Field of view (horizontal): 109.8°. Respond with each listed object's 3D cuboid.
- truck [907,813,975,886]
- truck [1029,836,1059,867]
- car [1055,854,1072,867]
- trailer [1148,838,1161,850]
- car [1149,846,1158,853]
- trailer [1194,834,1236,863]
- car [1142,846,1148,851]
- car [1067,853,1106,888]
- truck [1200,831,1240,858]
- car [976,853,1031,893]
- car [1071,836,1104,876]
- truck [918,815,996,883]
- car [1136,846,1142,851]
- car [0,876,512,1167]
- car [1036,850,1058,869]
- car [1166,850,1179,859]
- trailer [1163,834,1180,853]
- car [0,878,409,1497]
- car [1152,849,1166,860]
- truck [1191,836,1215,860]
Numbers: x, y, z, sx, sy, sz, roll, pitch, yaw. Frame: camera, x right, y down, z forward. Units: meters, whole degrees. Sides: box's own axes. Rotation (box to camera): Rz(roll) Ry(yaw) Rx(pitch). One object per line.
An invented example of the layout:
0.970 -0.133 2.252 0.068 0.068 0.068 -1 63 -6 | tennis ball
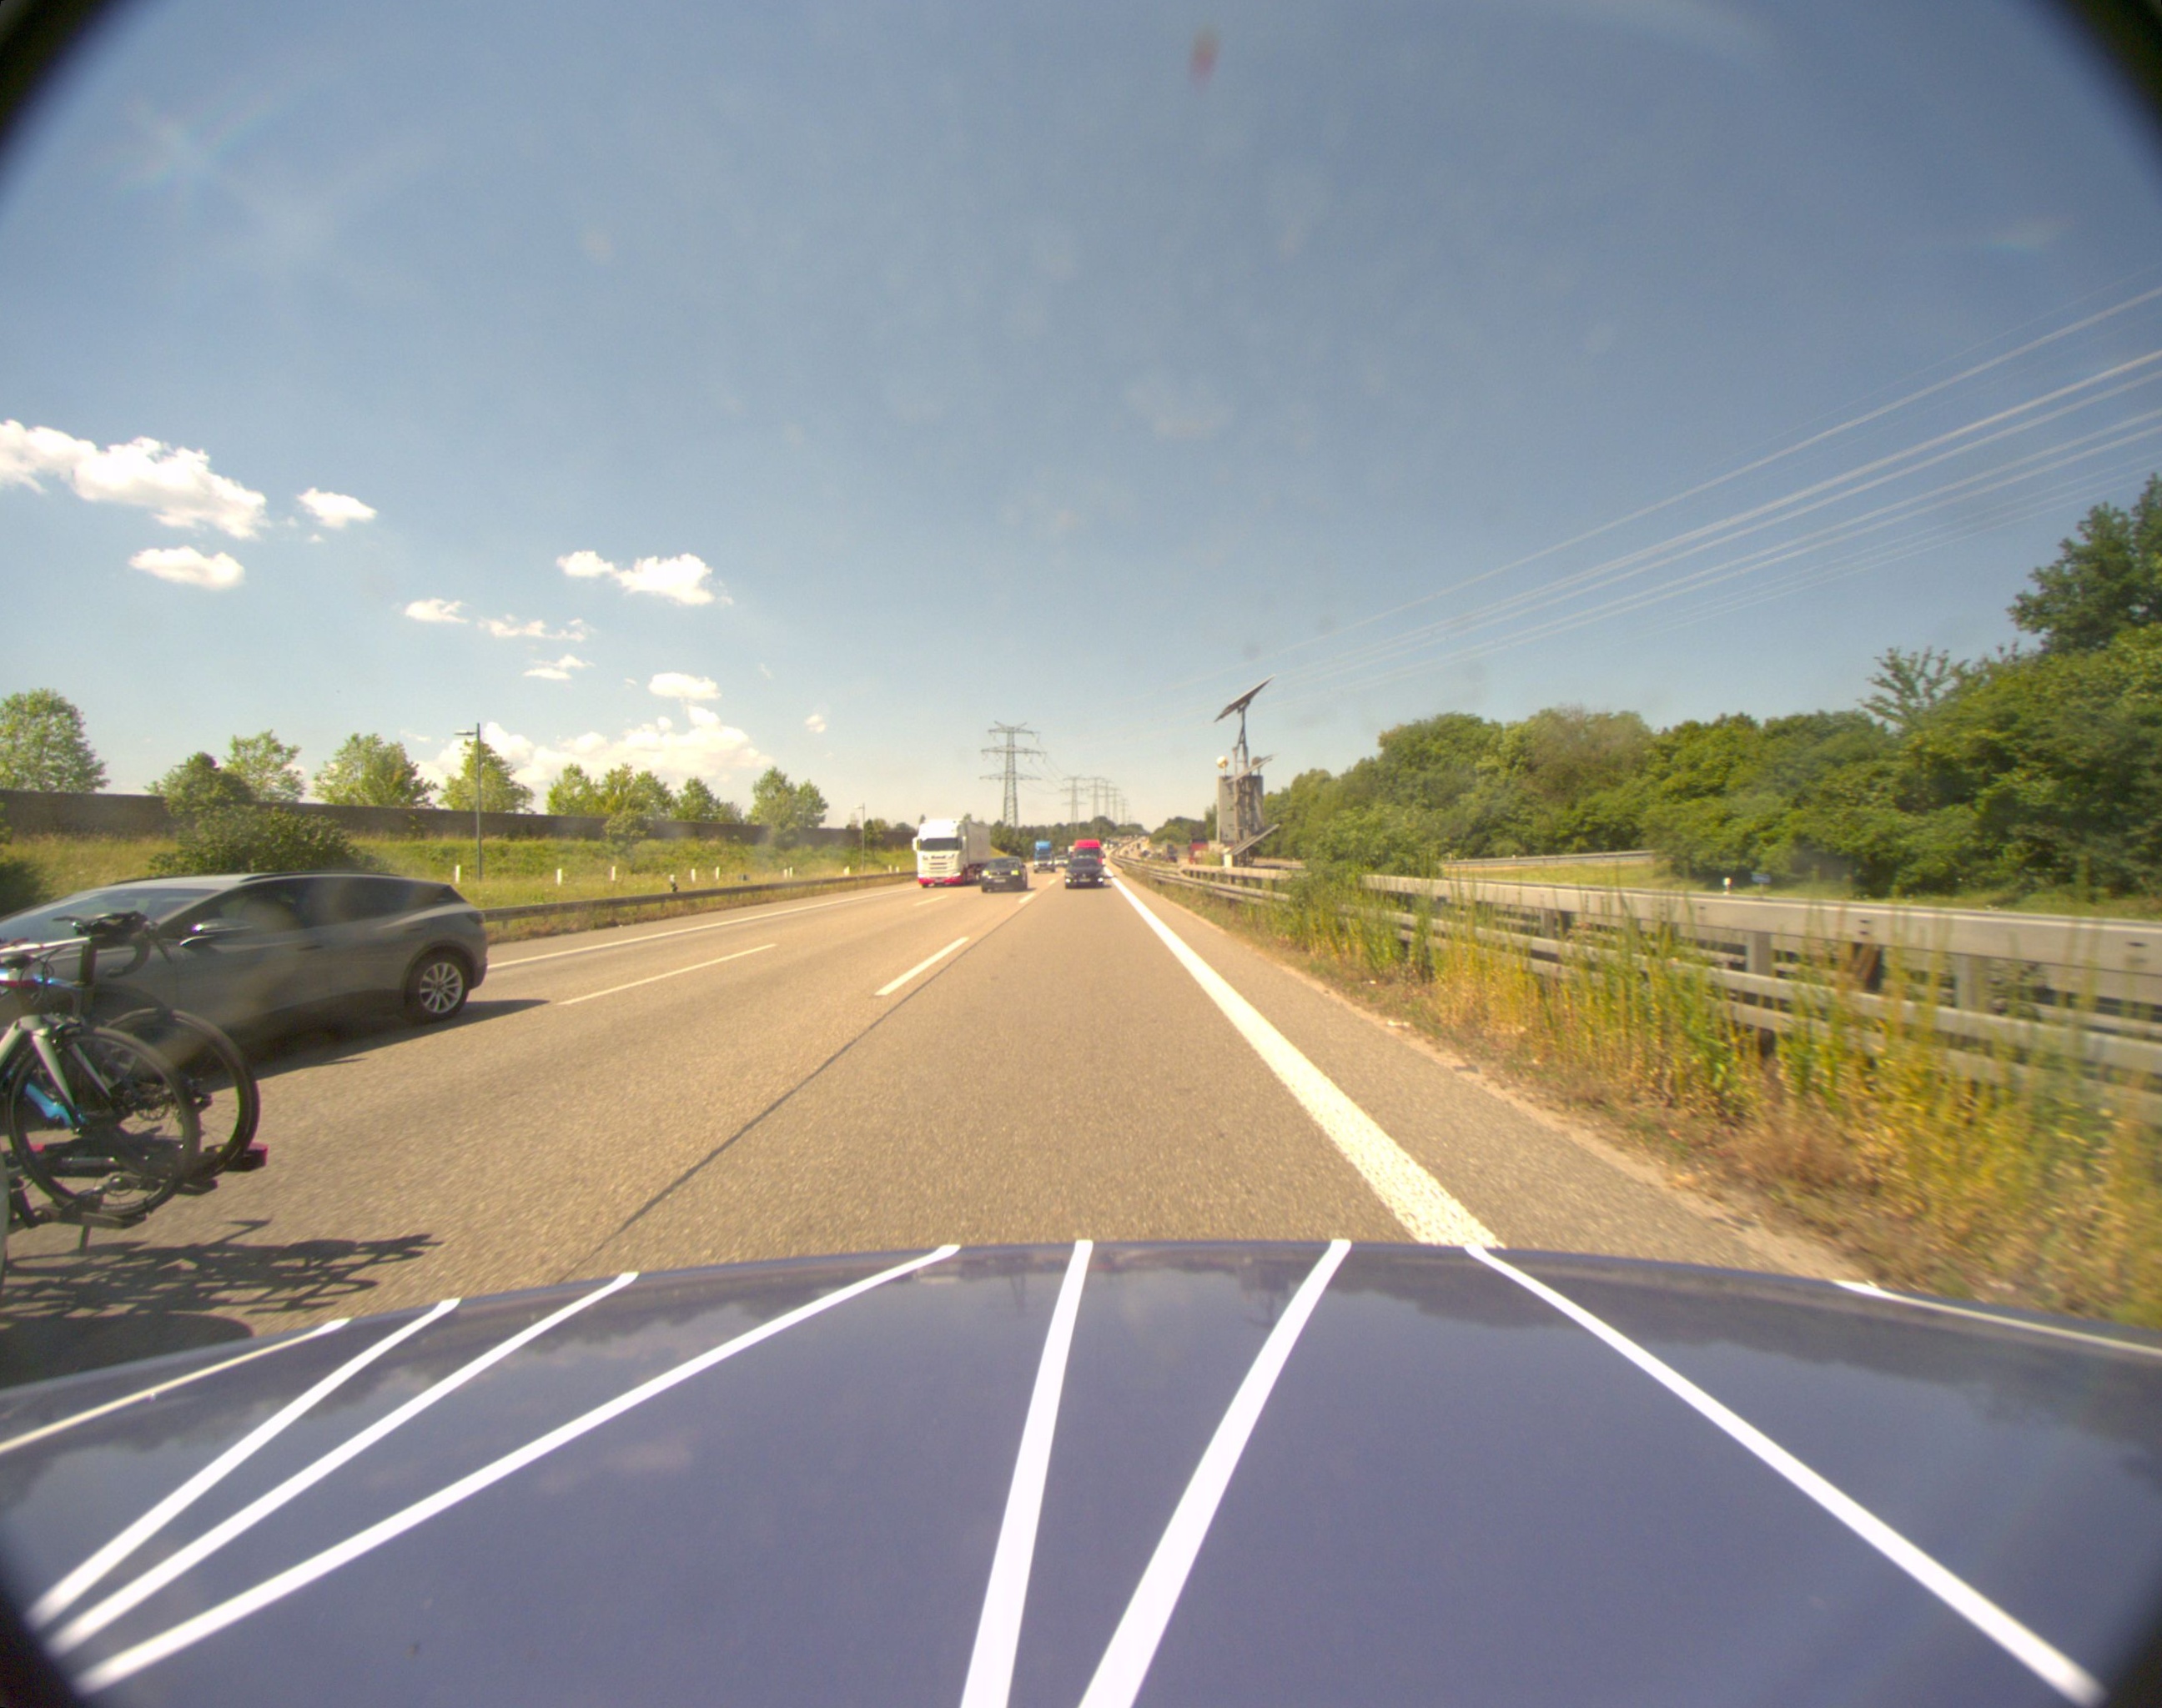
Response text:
-7.938 -0.282 43.605 3.076 3.885 3.846 -2 1 0 | truck
-6.214 -0.514 131.671 3.797 4.971 14.923 -2 1 2 | truck
-2.274 0.860 99.723 1.878 1.591 3.688 0 1 2 | car
21.180 -2.959 220.351 2.921 3.281 9.709 -1 1 1 | trailer
17.308 -1.012 180.911 1.786 1.522 3.883 2 1 1 | car
18.116 -0.760 103.998 3.003 3.538 16.021 -1 1 1 | trailer
19.004 -1.566 225.256 1.716 1.460 4.146 1 1 3 | car
0.311 0.746 36.483 1.735 1.535 3.750 0 1 2 | car
25.437 -1.582 140.352 3.005 4.314 14.540 -1 -2 -7 | truck
-3.541 0.816 35.506 1.955 1.637 4.047 -3 1 2 | car
0.467 0.118 51.637 2.100 2.598 4.496 0 1 2 | car
-7.979 -0.338 50.808 3.076 3.885 12.502 -2 1 0 | truck
18.964 -1.739 248.042 1.786 1.522 4.384 2 1 1 | car
-7.598 1.136 6.500 1.873 1.627 4.585 -2 1 1 | car
-3.137 0.490 71.015 1.749 1.691 4.088 0 1 2 | car
15.621 0.070 130.067 1.774 1.326 4.921 0 0 1 | car
21.584 -2.554 181.778 3.182 4.316 13.813 -1 1 3 | trailer
-3.935 0.986 0.490 1.955 1.627 5.599 -2 1 0 | car
11.217 0.028 109.474 1.728 1.517 4.000 0 1 1 | car
18.216 -0.851 113.537 3.003 3.538 3.117 -1 1 0 | truck
